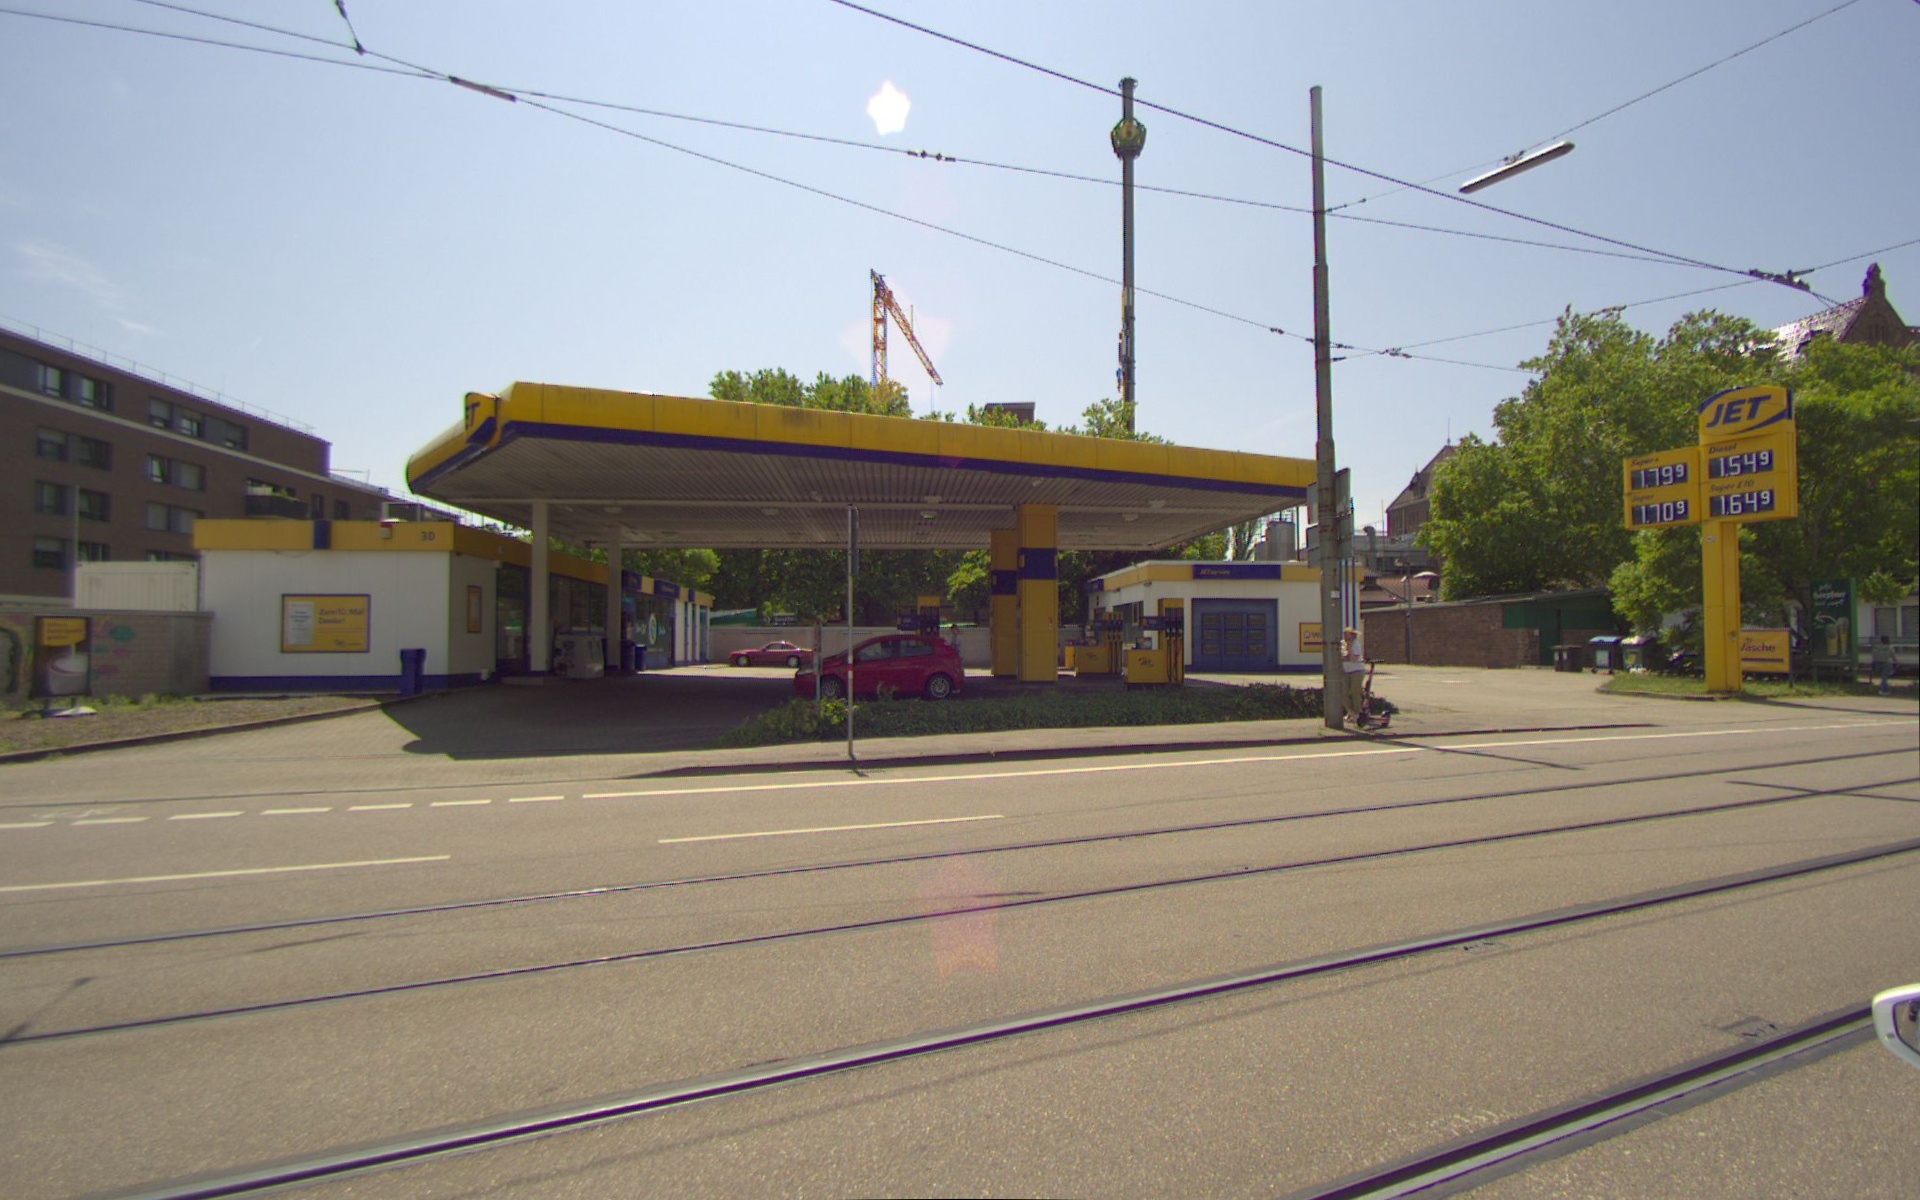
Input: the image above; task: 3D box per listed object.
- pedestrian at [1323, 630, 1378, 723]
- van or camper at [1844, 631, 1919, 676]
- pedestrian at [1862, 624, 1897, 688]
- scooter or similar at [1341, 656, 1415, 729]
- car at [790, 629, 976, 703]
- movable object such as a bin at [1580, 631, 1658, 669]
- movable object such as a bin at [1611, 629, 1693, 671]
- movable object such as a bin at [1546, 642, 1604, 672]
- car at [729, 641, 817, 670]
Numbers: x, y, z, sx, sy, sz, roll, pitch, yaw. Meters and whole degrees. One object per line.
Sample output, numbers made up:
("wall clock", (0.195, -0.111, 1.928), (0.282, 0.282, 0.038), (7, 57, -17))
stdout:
("pedestrian", (7.363, 1.419, 18.947), (0.711, 1.713, 0.624), (0, -2, -18))
("van or camper", (36.506, 2.039, 38.355), (1.848, 1.651, 3.769), (0, -1, -28))
("pedestrian", (26.442, 1.605, 28.878), (0.692, 1.799, 0.577), (1, -1, -32))
("scooter or similar", (7.378, 1.605, 17.708), (1.361, 1.216, 0.516), (1, -1, -31))
("car", (-1.779, 1.498, 23.407), (4.119, 1.525, 1.830), (-1, 0, -5))
("movable object such as a bin", (25.784, 1.939, 39.320), (2.059, 1.451, 1.525), (0, -1, -4))
("movable object such as a bin", (25.959, 1.865, 37.734), (2.059, 1.529, 1.525), (0, -1, -4))
("movable object such as a bin", (25.247, 2.329, 41.257), (1.534, 1.153, 1.408), (0, -1, -4))
("car", (-9.394, 2.805, 50.761), (4.157, 1.428, 1.720), (0, -2, -2))
